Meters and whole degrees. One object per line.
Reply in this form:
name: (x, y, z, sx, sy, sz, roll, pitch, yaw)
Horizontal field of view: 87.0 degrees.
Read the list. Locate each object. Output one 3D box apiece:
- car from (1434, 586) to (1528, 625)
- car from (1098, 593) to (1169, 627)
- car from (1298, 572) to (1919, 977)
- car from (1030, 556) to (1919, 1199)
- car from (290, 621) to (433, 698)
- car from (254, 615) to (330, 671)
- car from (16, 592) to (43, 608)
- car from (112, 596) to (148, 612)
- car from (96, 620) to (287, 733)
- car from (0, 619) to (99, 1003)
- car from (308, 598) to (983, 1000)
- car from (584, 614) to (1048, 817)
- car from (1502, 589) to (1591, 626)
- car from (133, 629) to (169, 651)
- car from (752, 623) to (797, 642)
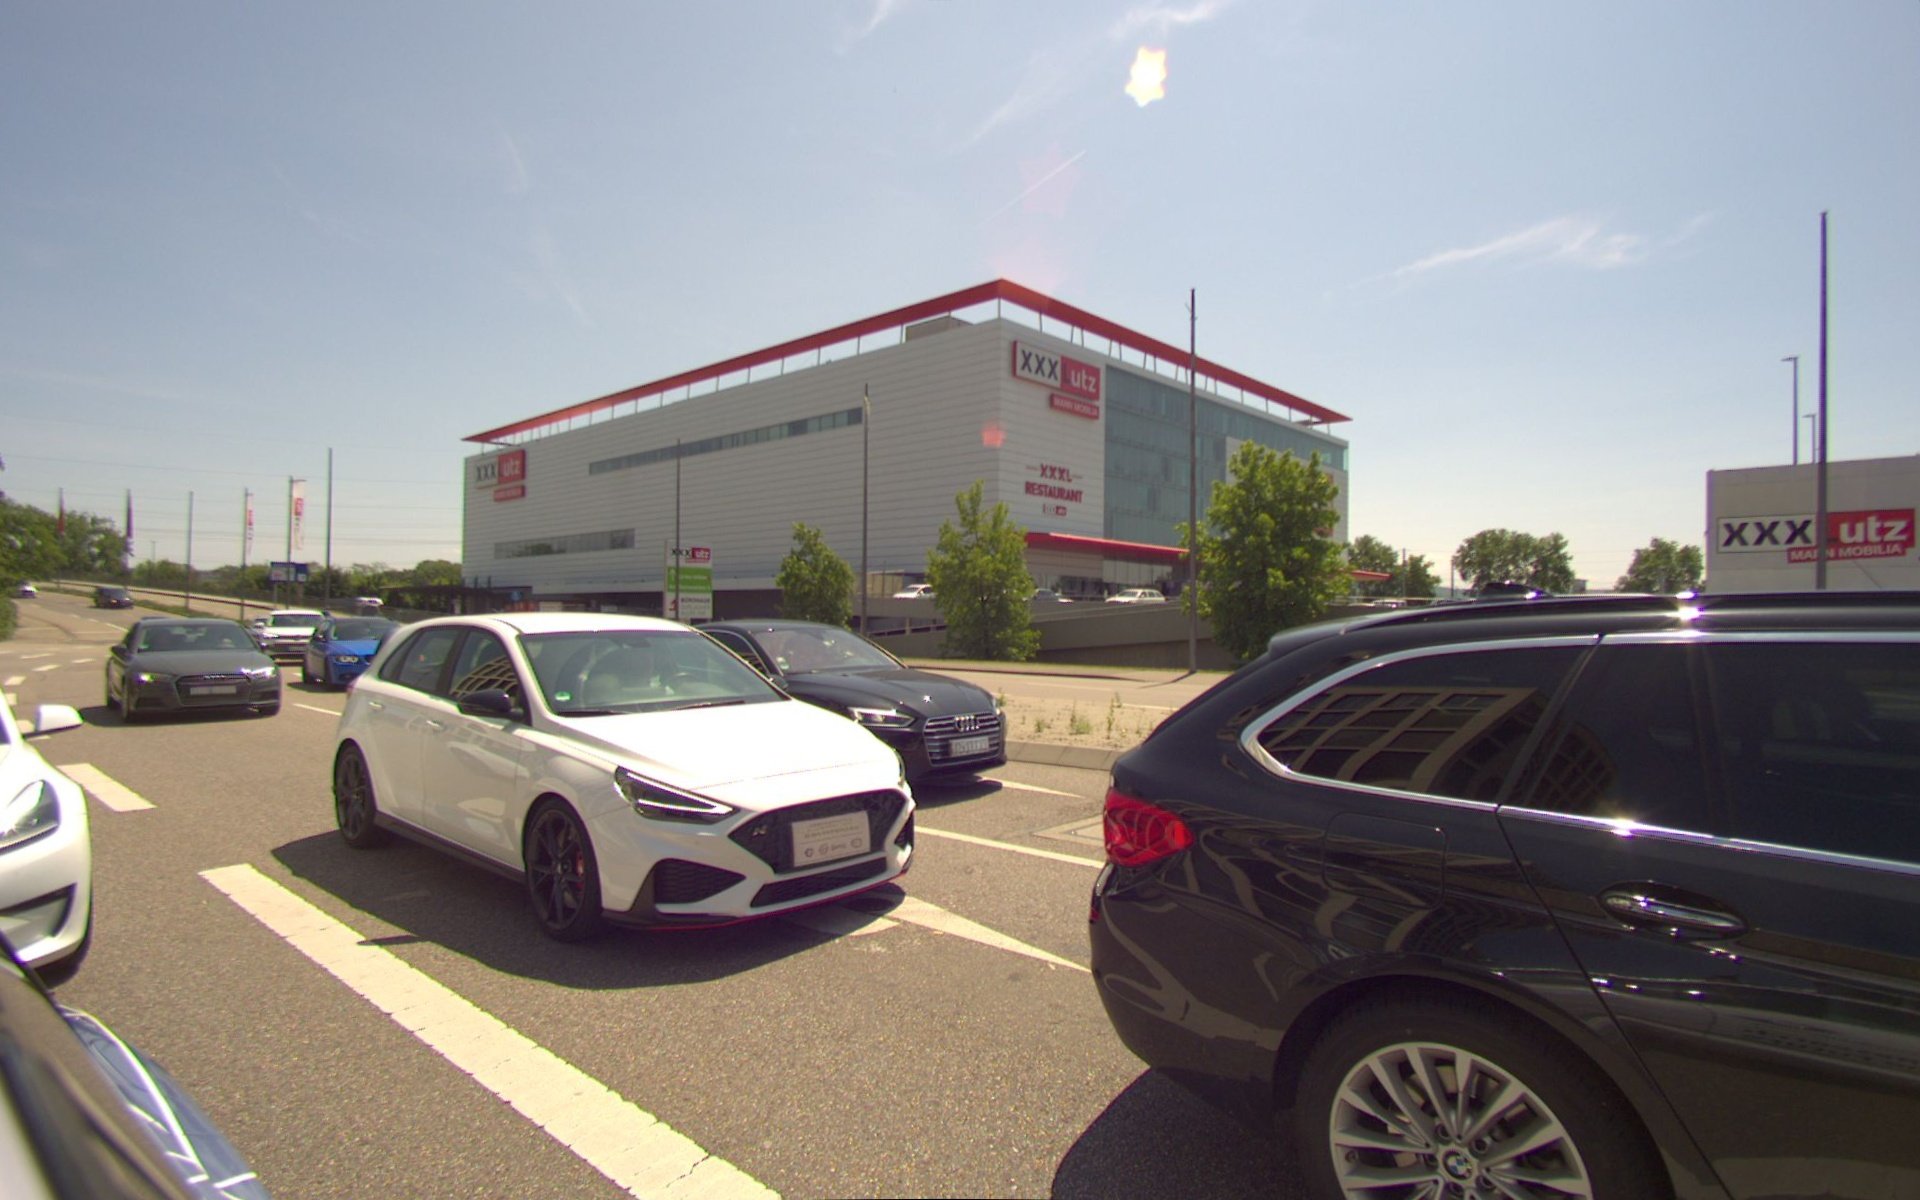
car: (27.140, 0.324, 52.751, 3.998, 1.946, 1.973, -1, -2, 41)
car: (9.917, 0.590, 57.564, 2.000, 1.781, 4.140, 0, -2, 44)
car: (3.841, 0.659, 4.672, 3.991, 1.505, 1.782, -1, -1, 36)
car: (2.506, 0.665, 1.721, 4.620, 1.477, 1.781, -1, -1, 40)
car: (-12.472, 1.156, 20.957, 1.775, 1.424, 4.412, 2, -2, -41)
car: (-20.168, 1.243, 30.492, 1.653, 1.587, 4.066, 1, -1, -37)
car: (-100.447, 0.002, 109.236, 3.999, 1.472, 1.775, 3, 3, 41)
car: (-80.732, 0.409, 98.429, 4.365, 1.364, 1.974, 3, 2, 40)
car: (-11.428, 1.003, 14.931, 1.776, 1.388, 4.410, 1, -1, -43)
car: (-5.707, 0.829, 4.690, 4.401, 1.436, 1.857, -1, -1, 39)
car: (-2.032, 0.772, 5.740, 4.228, 1.461, 1.712, -1, -2, 41)
car: (-1.521, 0.861, 9.214, 4.533, 1.401, 1.729, -2, -2, 43)
car: (32.365, 0.447, 55.883, 3.996, 1.923, 1.974, -1, -2, 39)
car: (-44.623, 2.196, 55.872, 1.452, 1.198, 3.359, 2, -3, -38)
car: (-17.087, 3.006, 93.291, 1.911, 1.632, 3.698, 0, -2, 41)
